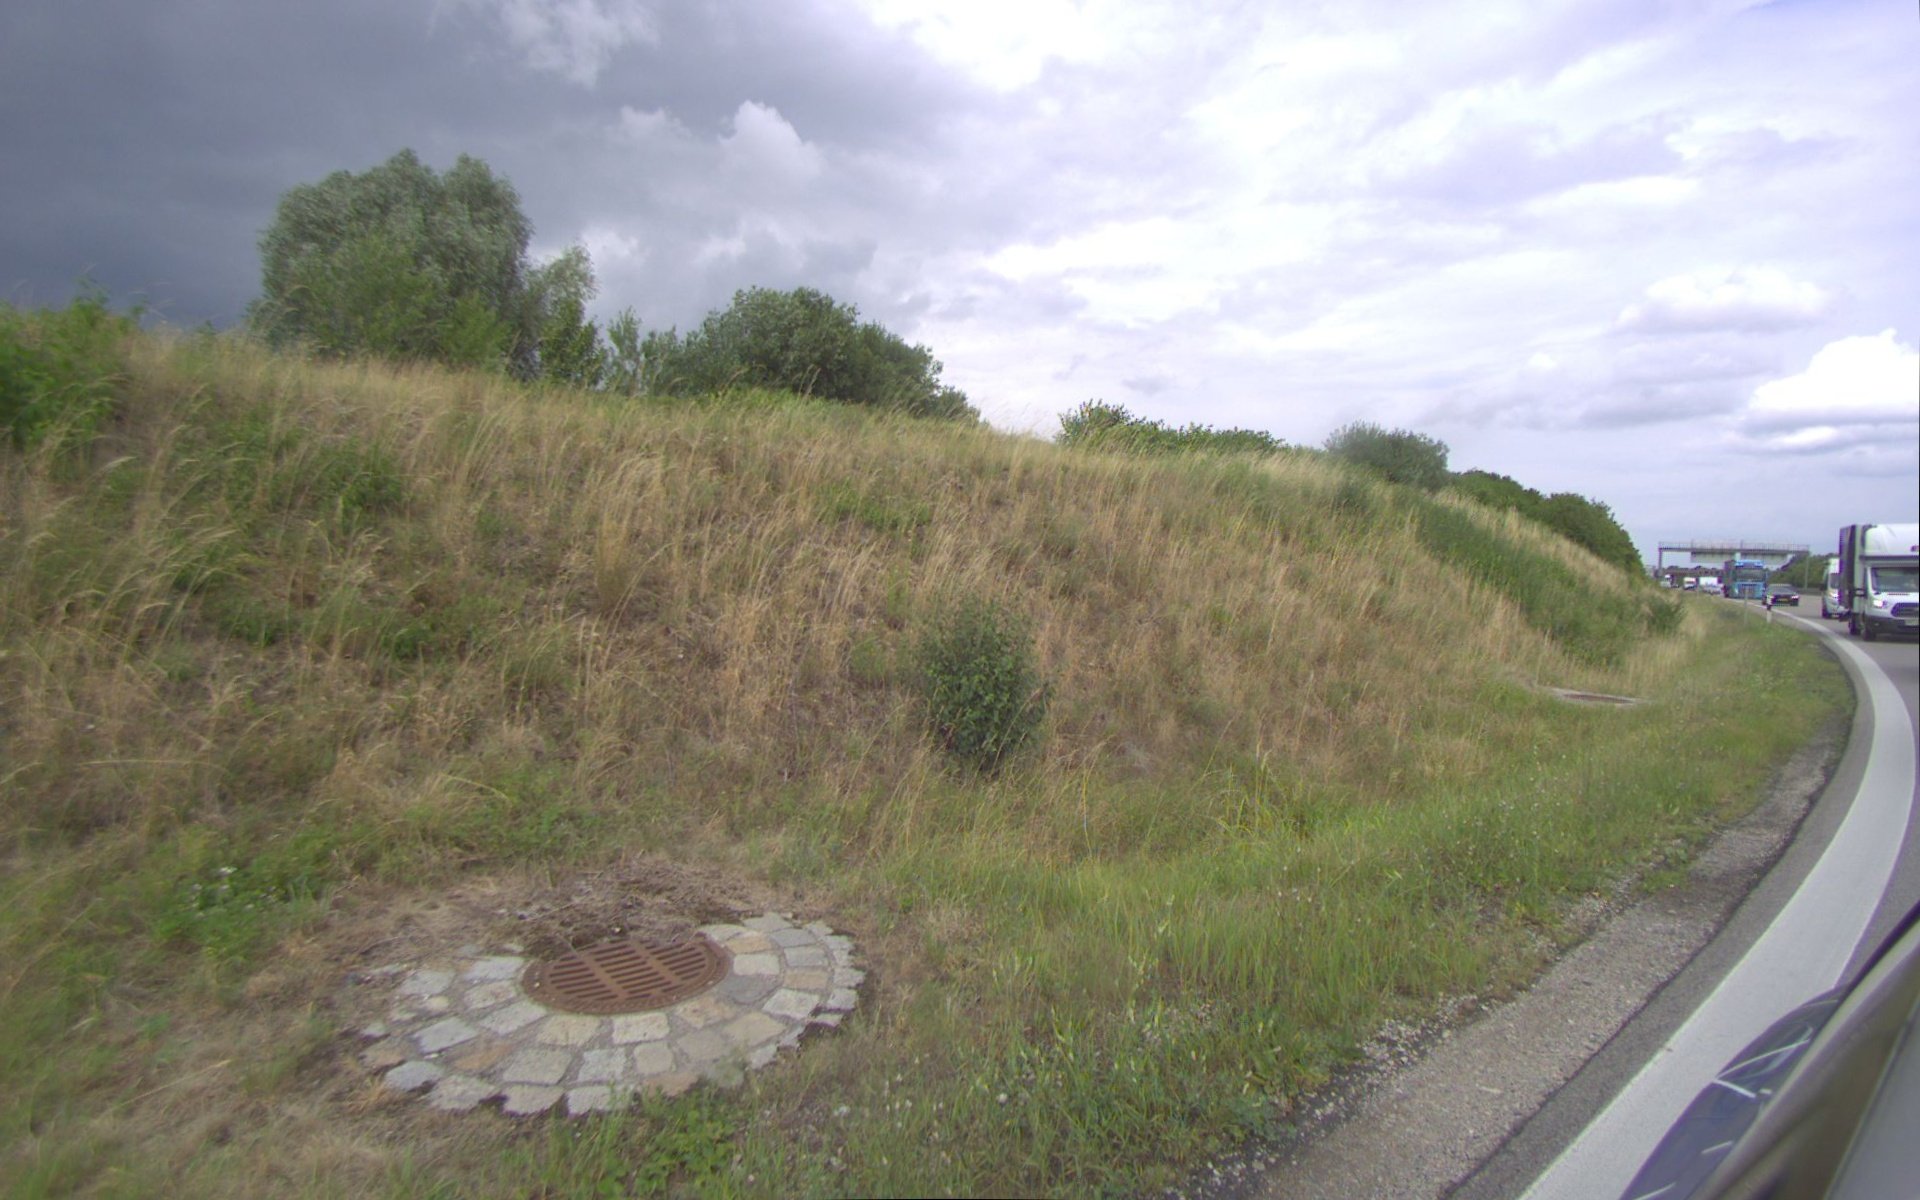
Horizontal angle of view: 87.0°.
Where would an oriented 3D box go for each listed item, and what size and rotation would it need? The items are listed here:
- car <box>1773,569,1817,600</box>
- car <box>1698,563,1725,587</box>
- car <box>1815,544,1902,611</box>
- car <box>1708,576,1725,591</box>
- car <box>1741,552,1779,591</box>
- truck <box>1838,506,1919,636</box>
[{"bbox_3d":[58.088,-1.104,70.477,1.988,2.038,3.950,2,2,35],"label":"car"},{"bbox_3d":[113.296,-3.717,152.662,2.929,3.509,6.489,2,2,35],"label":"car"},{"bbox_3d":[40.146,-1.029,45.381,2.008,2.779,6.843,1,2,34],"label":"car"},{"bbox_3d":[109.553,-2.430,146.562,1.920,2.057,3.949,2,2,36],"label":"car"},{"bbox_3d":[81.286,-2.910,102.873,2.490,3.756,7.606,2,2,35],"label":"car"},{"bbox_3d":[26.645,-0.792,28.287,2.435,3.275,7.100,1,2,36],"label":"truck"}]
